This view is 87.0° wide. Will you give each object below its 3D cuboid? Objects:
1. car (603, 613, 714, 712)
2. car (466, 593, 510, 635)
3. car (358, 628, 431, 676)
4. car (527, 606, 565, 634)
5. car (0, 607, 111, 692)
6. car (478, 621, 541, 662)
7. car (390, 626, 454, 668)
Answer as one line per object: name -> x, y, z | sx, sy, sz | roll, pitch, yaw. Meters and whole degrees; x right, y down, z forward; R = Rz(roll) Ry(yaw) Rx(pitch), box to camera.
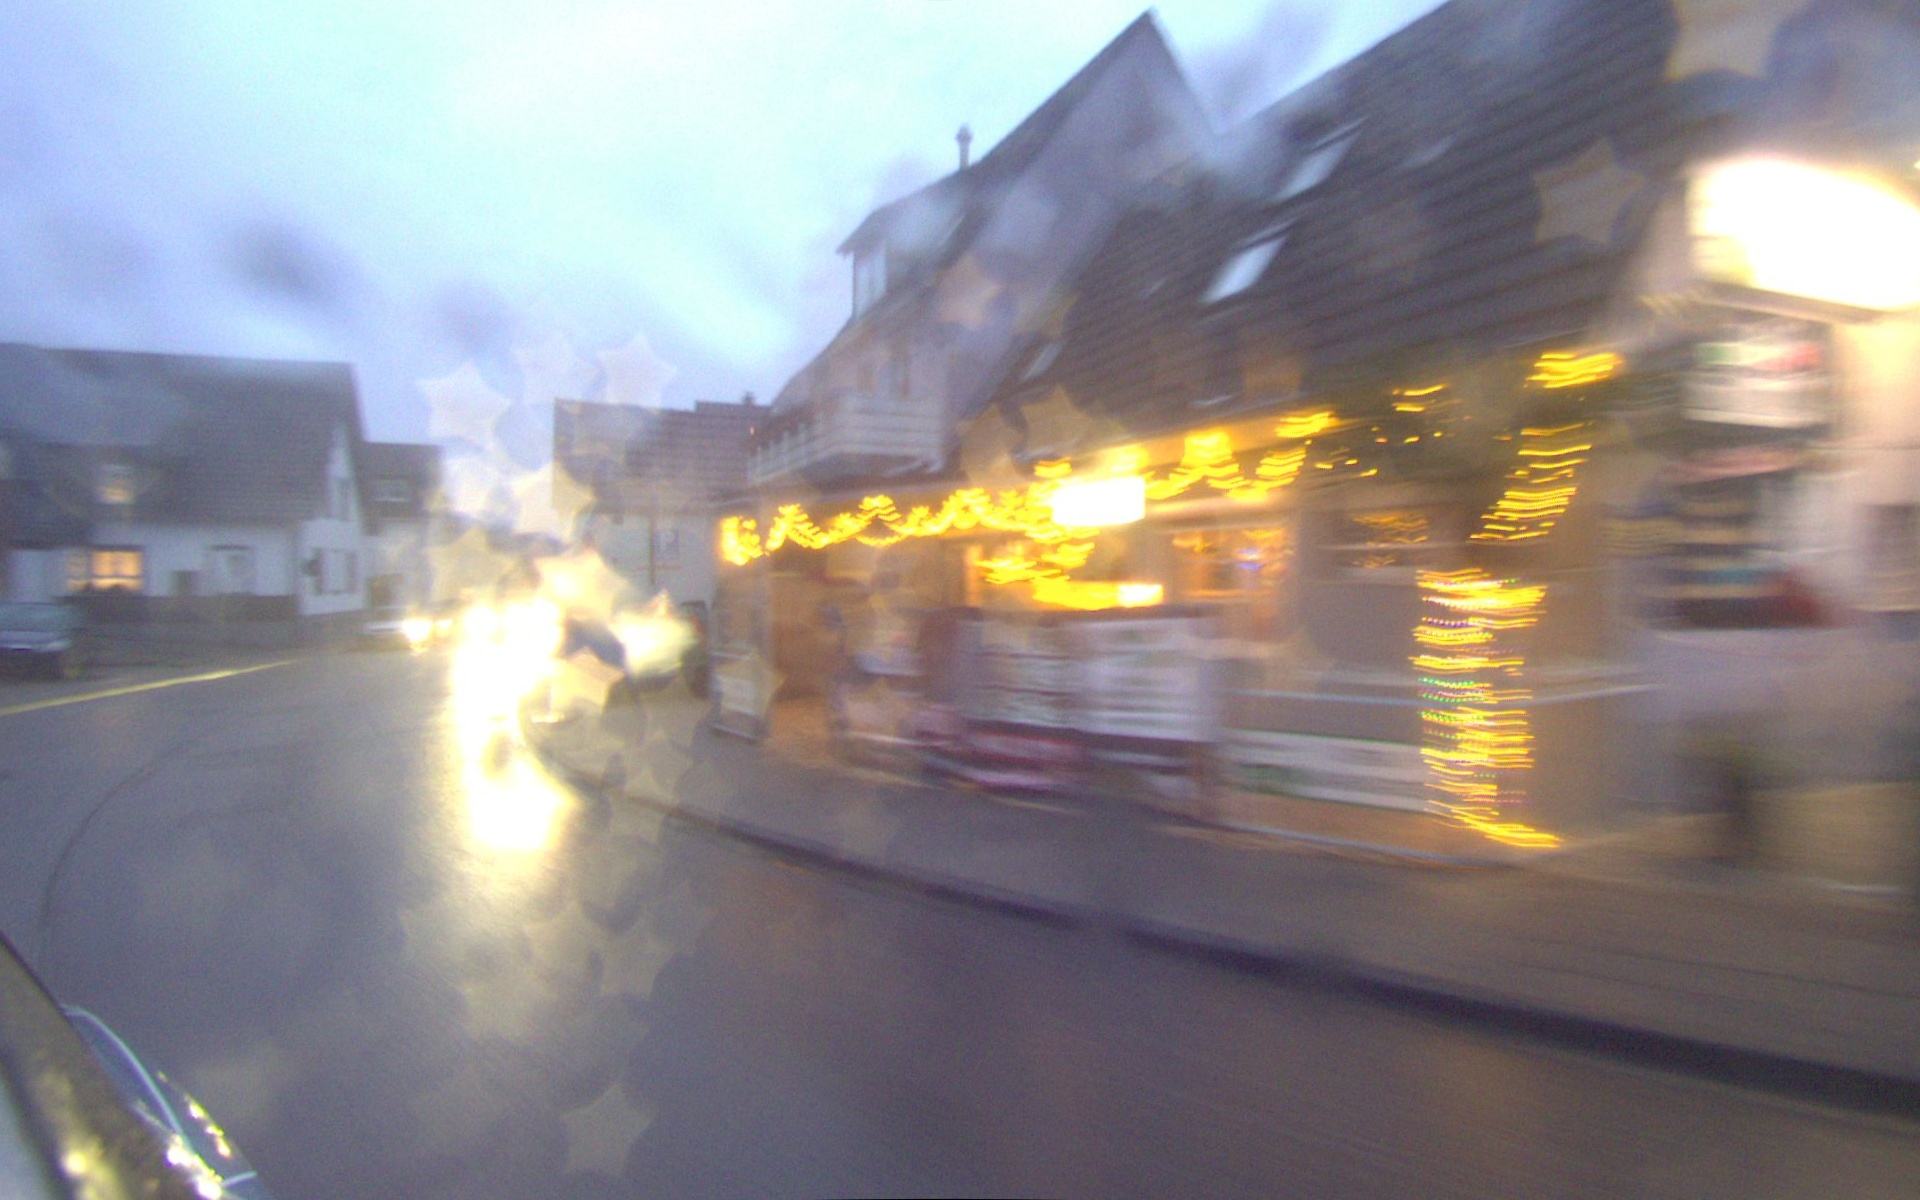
car -> -5.128, 0.963, 17.236 | 1.596, 1.432, 3.815 | -1, 0, -17
car -> -29.195, 0.861, 62.694 | 1.981, 2.472, 5.633 | -1, -1, -20
car -> -19.850, 1.770, 35.681 | 1.615, 1.505, 4.013 | -1, -1, -20
car -> -25.110, 1.202, 61.494 | 1.958, 1.569, 4.249 | 0, -1, -19
car -> -19.139, 0.974, 20.967 | 1.782, 1.498, 4.290 | 4, -2, -33
car -> -18.633, 1.682, 42.037 | 1.958, 1.569, 4.249 | 0, -1, -18
car -> -21.561, 1.845, 40.698 | 1.615, 1.482, 4.012 | -1, 0, -19
